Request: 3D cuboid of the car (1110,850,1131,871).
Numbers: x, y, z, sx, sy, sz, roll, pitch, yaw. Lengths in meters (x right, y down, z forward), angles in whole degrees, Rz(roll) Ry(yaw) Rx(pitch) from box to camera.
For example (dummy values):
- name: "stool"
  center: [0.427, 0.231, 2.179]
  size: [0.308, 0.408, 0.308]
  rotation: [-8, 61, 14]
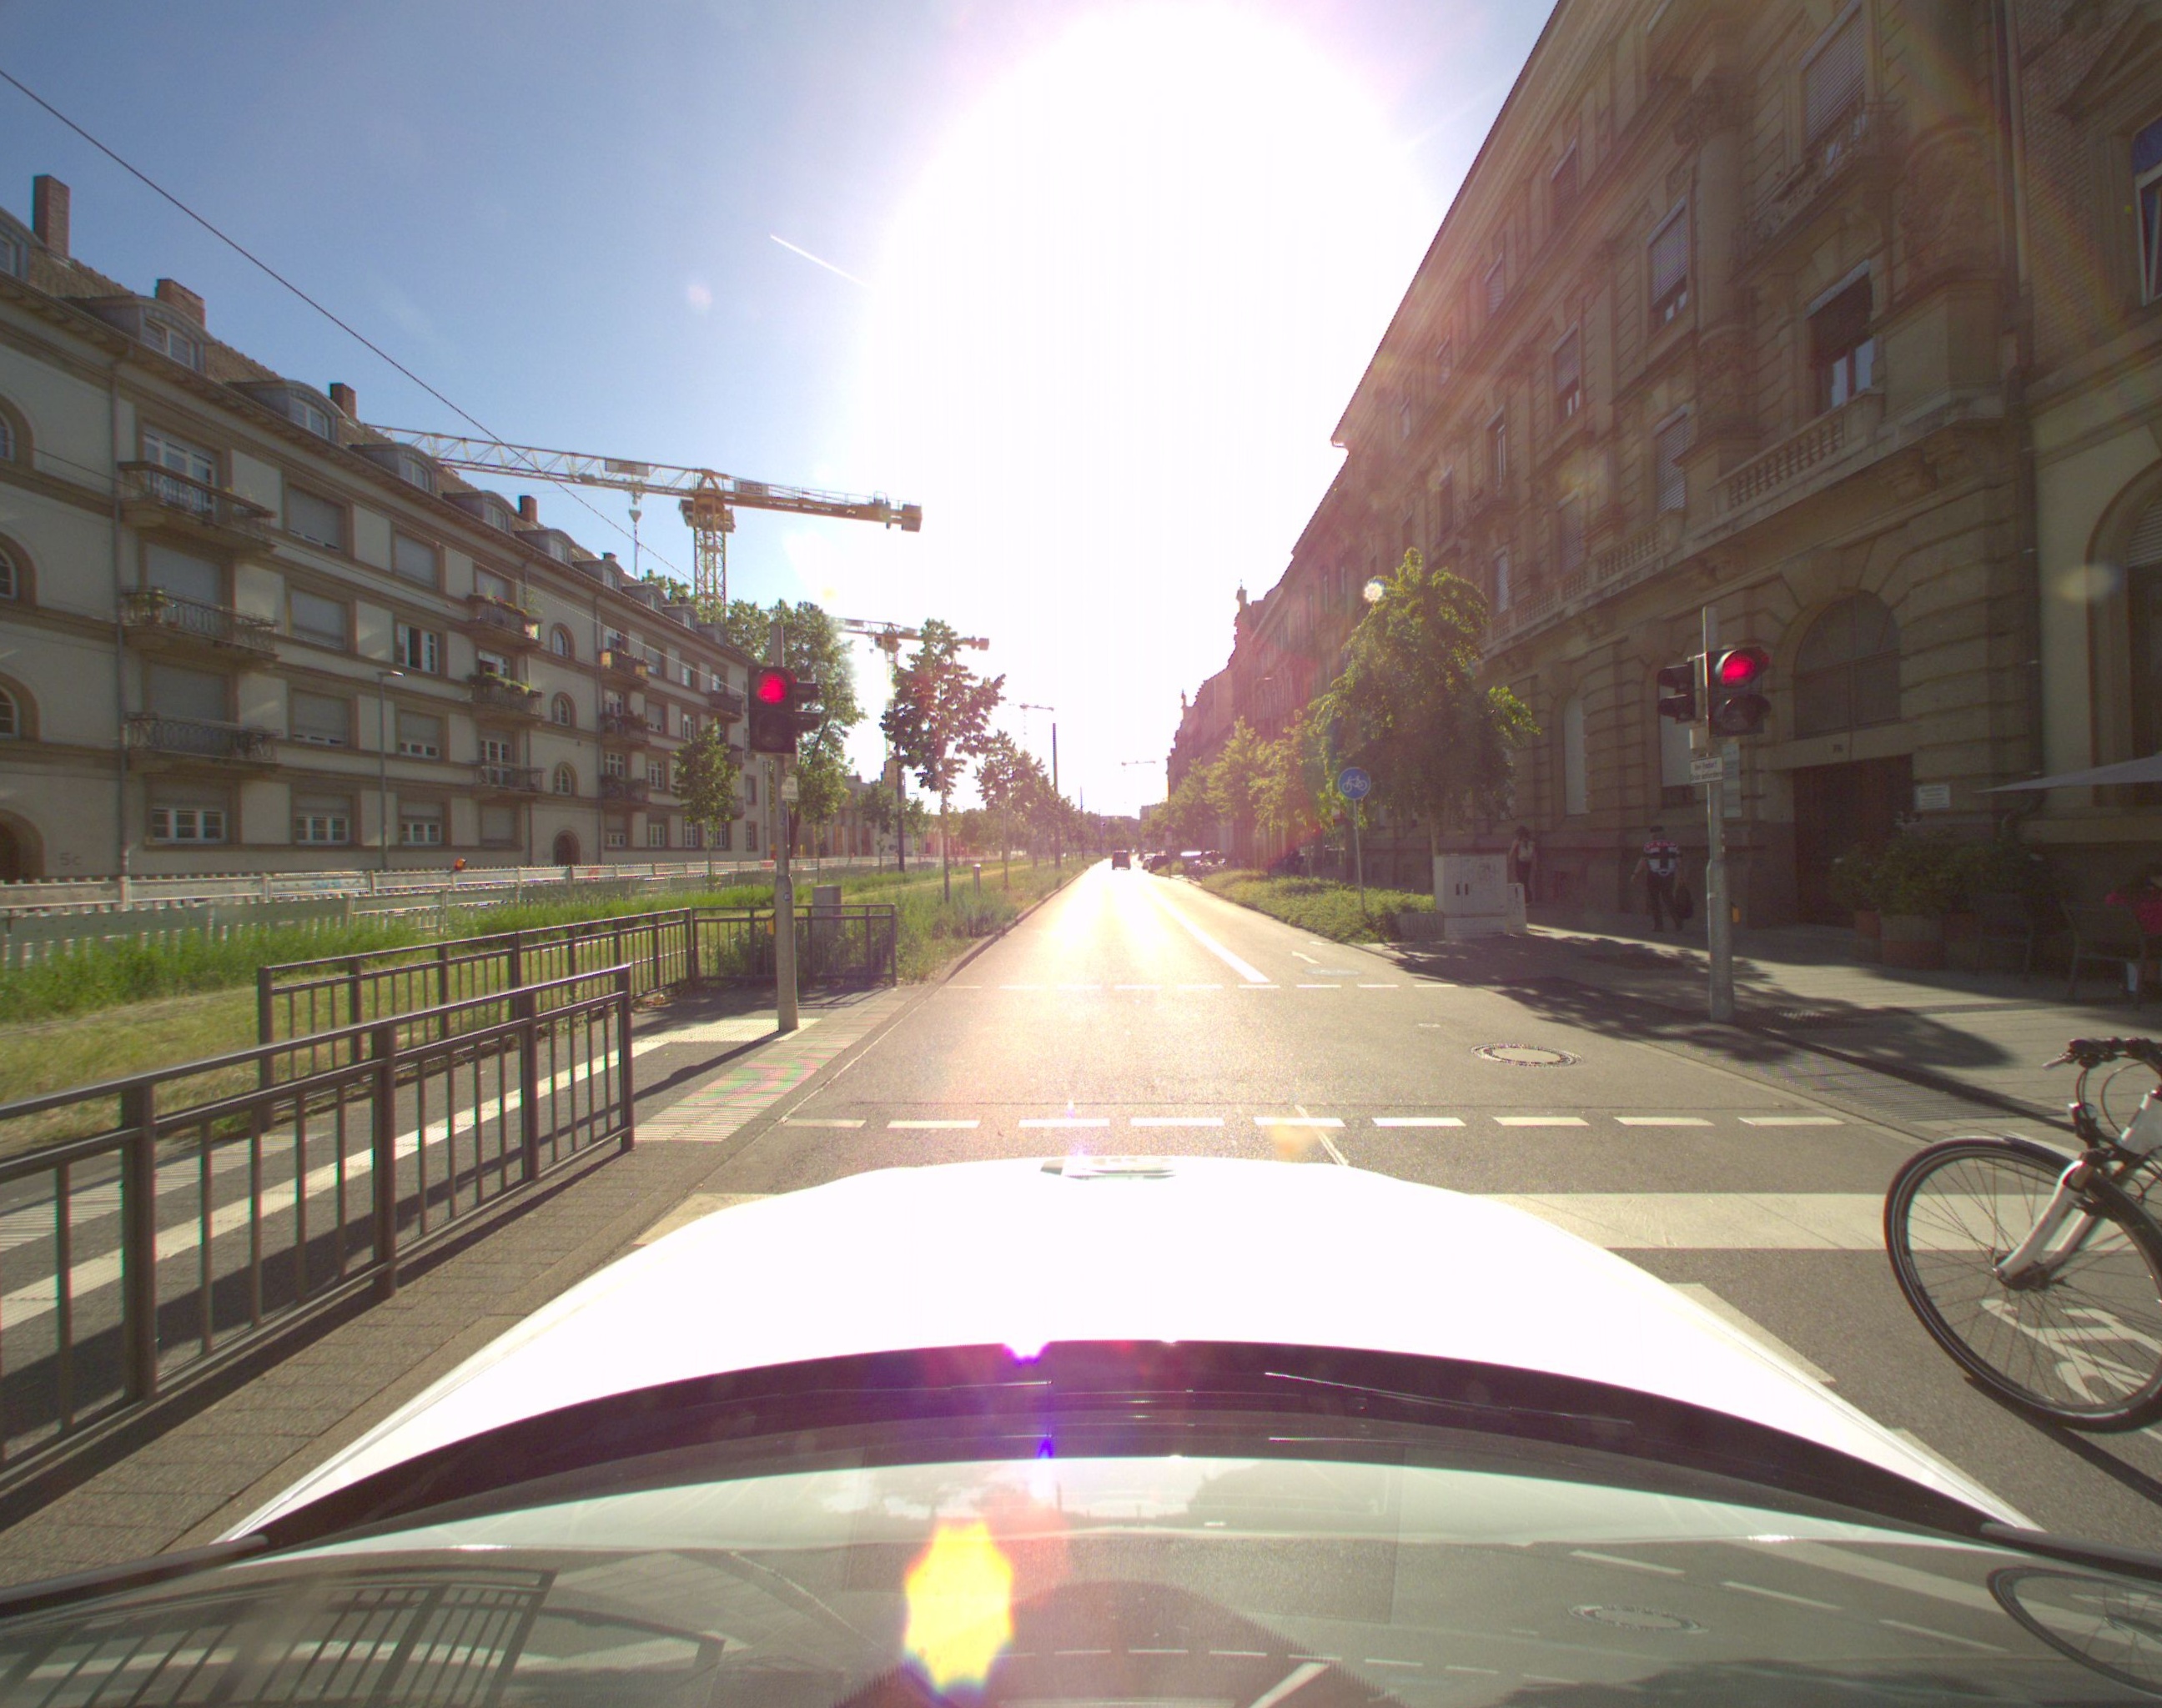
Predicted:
- name: "car"
  center: [3.939, 0.685, 80.512]
  size: [1.985, 2.014, 4.003]
  rotation: [0, -1, 3]

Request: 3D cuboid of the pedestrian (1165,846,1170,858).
- name: "pedestrian"
  center: [14.649, -0.364, 137.880]
  size: [0.814, 2.014, 1.046]
  rotation: [0, -3, 2]

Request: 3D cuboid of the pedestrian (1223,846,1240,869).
- name: "pedestrian"
  center: [10.798, 0.261, 58.458]
  size: [0.947, 1.566, 1.080]
  rotation: [-2, 1, 1]

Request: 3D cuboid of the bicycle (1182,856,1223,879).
- name: "bicycle"
  center: [6.578, 0.732, 44.026]
  size: [2.040, 1.107, 0.610]
  rotation: [-4, 0, -4]

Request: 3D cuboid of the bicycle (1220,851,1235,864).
- name: "bicycle"
  center: [13.063, 0.314, 72.757]
  size: [0.873, 1.105, 2.181]
  rotation: [-4, 0, -1]

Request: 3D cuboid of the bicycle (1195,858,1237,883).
- name: "bicycle"
  center: [6.573, 0.779, 39.612]
  size: [1.887, 1.108, 0.517]
  rotation: [-3, -1, -4]

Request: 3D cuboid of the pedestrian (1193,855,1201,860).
- name: "pedestrian"
  center: [14.337, 0.461, 100.707]
  size: [0.770, 0.553, 2.008]
  rotation: [-2, 1, 2]

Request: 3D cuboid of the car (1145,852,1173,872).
- name: "car"
  center: [6.464, 0.660, 67.580]
  size: [1.760, 1.477, 4.447]
  rotation: [-4, -1, -1]

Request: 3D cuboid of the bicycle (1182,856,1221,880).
- name: "bicycle"
  center: [6.587, 0.738, 44.434]
  size: [1.970, 1.124, 0.481]
  rotation: [-5, 1, -4]

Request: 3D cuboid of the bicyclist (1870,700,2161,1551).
- name: "bicyclist"
  center: [2.660, 0.579, 1.813]
  size: [0.722, 1.817, 1.088]
  rotation: [0, 0, -7]

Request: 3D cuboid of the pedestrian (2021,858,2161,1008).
- name: "pedestrian"
  center: [8.922, 0.632, 6.960]
  size: [0.715, 1.183, 0.881]
  rotation: [-2, -1, 1]

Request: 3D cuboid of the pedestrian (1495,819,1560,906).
- name: "pedestrian"
  center: [10.352, 0.200, 18.918]
  size: [0.885, 1.920, 1.100]
  rotation: [-3, 0, 7]

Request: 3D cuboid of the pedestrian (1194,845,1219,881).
- name: "pedestrian"
  center: [6.331, 0.448, 41.129]
  size: [0.901, 1.735, 0.845]
  rotation: [-5, 0, -14]

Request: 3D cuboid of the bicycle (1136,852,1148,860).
- name: "bicycle"
  center: [10.272, 0.277, 137.616]
  size: [1.875, 1.233, 0.499]
  rotation: [-4, -1, -4]

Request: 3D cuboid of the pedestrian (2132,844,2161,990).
- name: "pedestrian"
  center: [9.864, 0.544, 6.902]
  size: [0.722, 1.282, 0.888]
  rotation: [-2, -1, 1]

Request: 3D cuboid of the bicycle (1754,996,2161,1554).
- name: "bicycle"
  center: [2.670, 0.990, 1.744]
  size: [0.722, 1.006, 1.948]
  rotation: [0, 0, -6]

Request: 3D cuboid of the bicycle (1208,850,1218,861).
- name: "bicycle"
  center: [13.550, 0.198, 83.923]
  size: [0.718, 1.090, 2.200]
  rotation: [-3, 0, 2]

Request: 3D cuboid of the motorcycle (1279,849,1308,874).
- name: "motorcycle"
  center: [11.521, 0.407, 44.254]
  size: [0.862, 1.266, 2.983]
  rotation: [0, -1, 2]

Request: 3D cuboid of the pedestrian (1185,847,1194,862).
- name: "pedestrian"
  center: [13.051, 0.035, 97.818]
  size: [0.992, 1.731, 0.866]
  rotation: [0, -1, 1]

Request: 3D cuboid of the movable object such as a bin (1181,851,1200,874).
- name: "movable object such as a bin"
  center: [7.327, 0.535, 54.672]
  size: [1.264, 1.463, 1.647]
  rotation: [0, 2, 7]

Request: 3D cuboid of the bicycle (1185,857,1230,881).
- name: "bicycle"
  center: [6.617, 0.782, 42.595]
  size: [2.287, 1.102, 0.484]
  rotation: [-3, 0, -13]

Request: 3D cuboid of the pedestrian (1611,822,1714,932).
- name: "pedestrian"
  center: [9.470, 0.361, 13.319]
  size: [0.962, 1.692, 1.118]
  rotation: [-3, 0, 16]

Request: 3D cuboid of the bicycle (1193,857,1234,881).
- name: "bicycle"
  center: [6.723, 0.744, 41.427]
  size: [1.971, 1.108, 0.435]
  rotation: [-3, -1, -1]

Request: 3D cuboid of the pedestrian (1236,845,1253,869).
- name: "pedestrian"
  center: [11.749, 0.201, 58.470]
  size: [0.967, 1.639, 0.993]
  rotation: [-3, 1, 2]

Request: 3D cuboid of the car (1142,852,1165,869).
- name: "car"
  center: [7.065, 0.593, 80.283]
  size: [1.944, 1.495, 5.108]
  rotation: [-3, 0, 2]

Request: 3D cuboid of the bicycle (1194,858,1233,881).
- name: "bicycle"
  center: [6.669, 0.775, 41.084]
  size: [1.811, 1.056, 0.571]
  rotation: [-3, -1, -4]

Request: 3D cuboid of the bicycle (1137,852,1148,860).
- name: "bicycle"
  center: [10.467, 0.350, 139.146]
  size: [1.821, 1.078, 0.664]
  rotation: [-4, 0, -4]

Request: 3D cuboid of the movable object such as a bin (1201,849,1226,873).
- name: "movable object such as a bin"
  center: [8.923, 0.469, 54.807]
  size: [1.368, 1.495, 1.750]
  rotation: [-4, -1, 3]
